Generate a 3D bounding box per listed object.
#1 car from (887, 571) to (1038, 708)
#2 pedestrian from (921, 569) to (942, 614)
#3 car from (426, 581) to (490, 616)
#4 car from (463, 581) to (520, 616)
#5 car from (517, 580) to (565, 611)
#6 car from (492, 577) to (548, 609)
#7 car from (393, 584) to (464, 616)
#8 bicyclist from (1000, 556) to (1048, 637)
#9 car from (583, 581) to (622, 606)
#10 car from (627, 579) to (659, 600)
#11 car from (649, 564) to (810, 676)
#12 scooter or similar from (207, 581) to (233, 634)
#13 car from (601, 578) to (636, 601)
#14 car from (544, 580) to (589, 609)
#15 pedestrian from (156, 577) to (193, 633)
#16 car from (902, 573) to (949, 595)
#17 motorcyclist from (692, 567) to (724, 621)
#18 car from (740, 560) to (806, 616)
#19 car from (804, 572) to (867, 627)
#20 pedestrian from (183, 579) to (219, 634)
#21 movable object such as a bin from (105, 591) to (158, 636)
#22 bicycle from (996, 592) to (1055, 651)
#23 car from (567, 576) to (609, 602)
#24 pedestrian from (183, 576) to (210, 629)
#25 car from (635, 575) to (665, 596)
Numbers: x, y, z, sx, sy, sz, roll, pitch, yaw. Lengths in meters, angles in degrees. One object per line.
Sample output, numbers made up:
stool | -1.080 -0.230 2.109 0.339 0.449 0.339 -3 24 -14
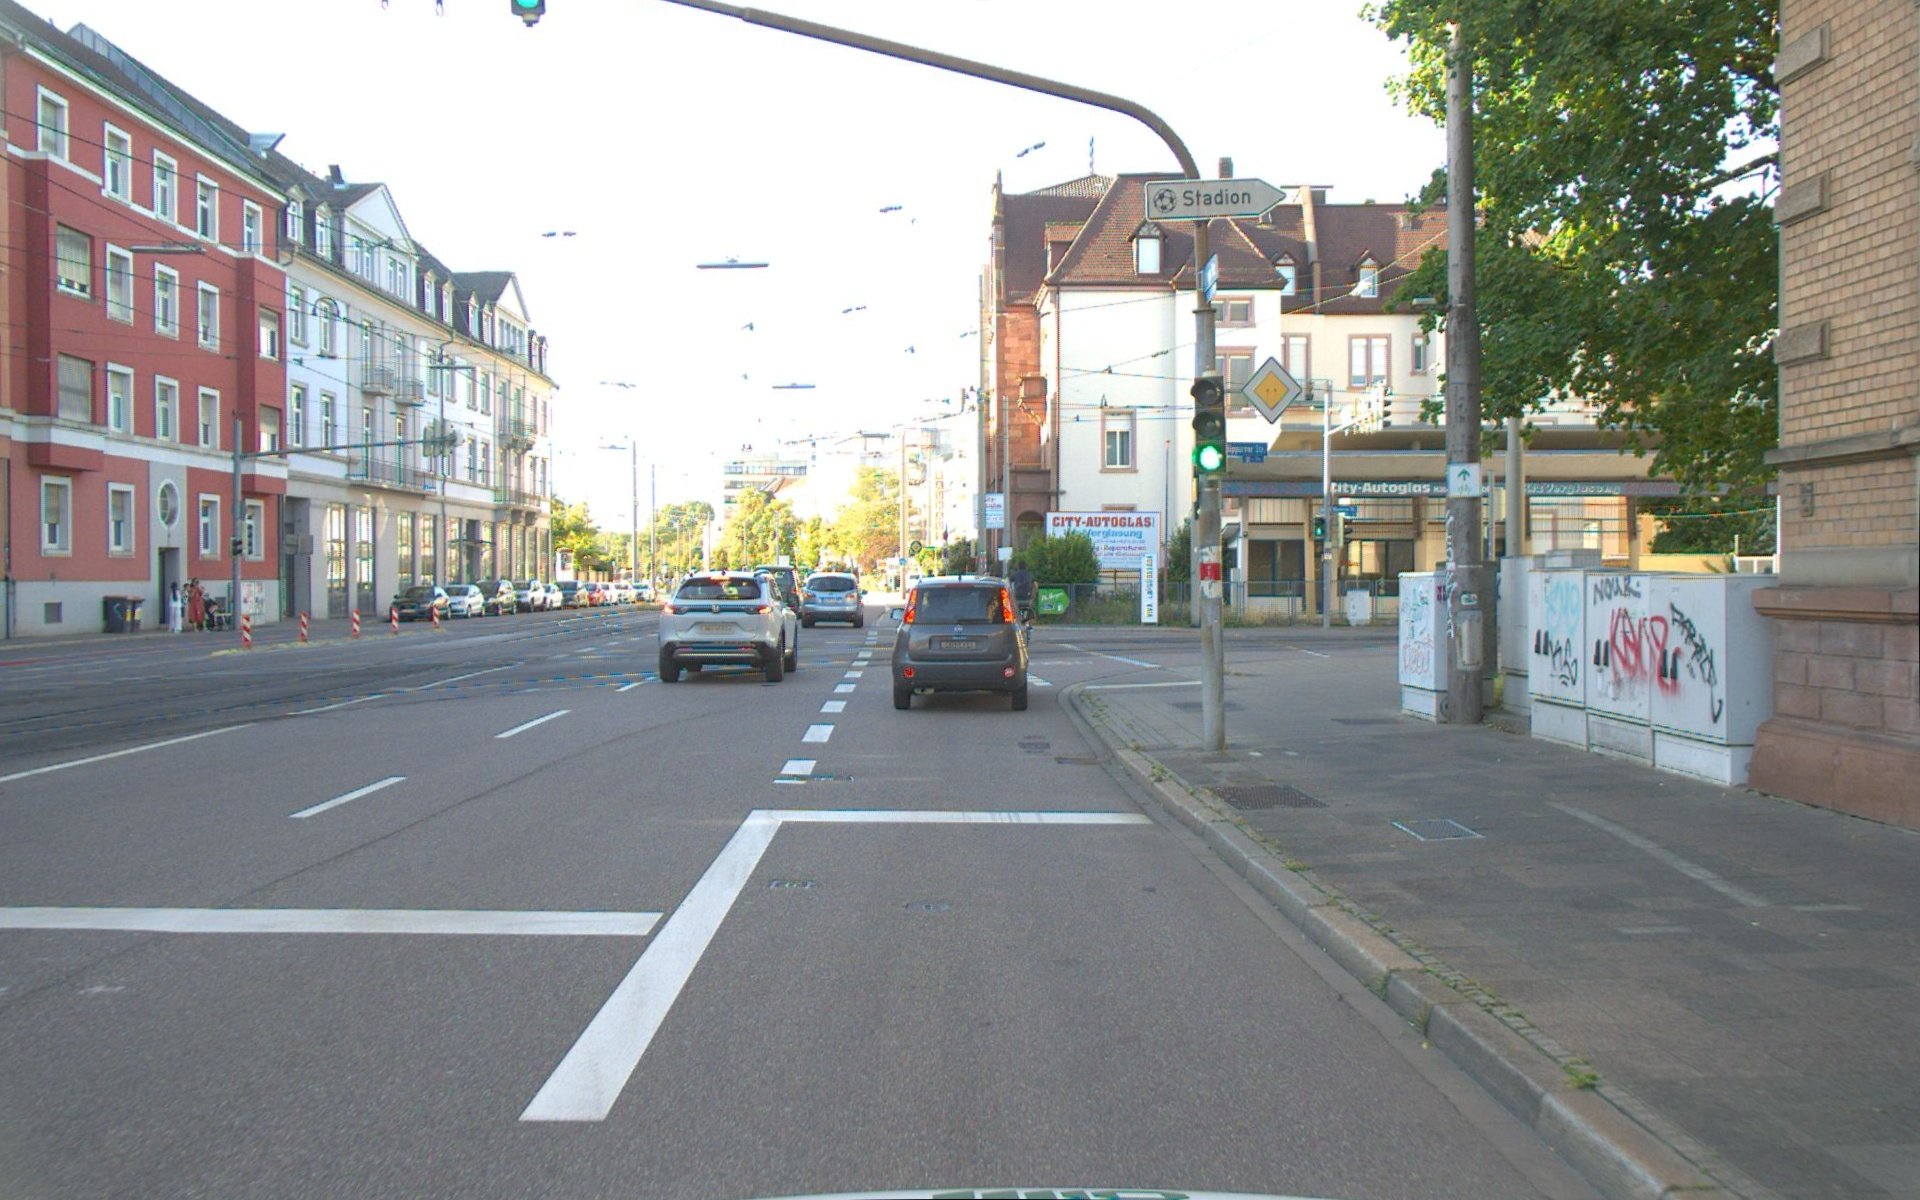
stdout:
car | 0.087 0.412 20.586 1.695 1.526 4.001 0 1 2
pedestrian | -1.185 -0.371 68.682 0.857 1.856 1.184 0 0 -1
car | -22.127 -0.093 73.023 1.684 1.477 3.999 -1 1 -2
car | -22.065 -0.073 77.979 1.684 1.579 3.855 -1 1 -2
car | -22.729 -0.268 89.872 1.684 1.579 3.999 -1 1 -2
car | -22.517 -0.380 84.737 1.798 1.579 4.273 -1 1 -2
car | -21.616 -0.019 67.454 1.684 1.254 3.999 -1 1 -2
bicyclist | 1.254 -0.073 32.584 0.818 1.551 0.992 0 0 -7
car | -22.825 -0.443 105.652 1.684 1.579 3.999 -1 1 -2
car | -23.894 -0.791 124.746 1.684 1.579 3.999 -1 1 -2
car | -3.382 0.242 25.012 1.908 1.555 4.089 0 1 -1
scooter or similar | -23.280 0.227 52.030 0.647 1.661 0.786 0 1 -34
car | -23.479 -0.727 113.897 1.684 1.579 3.999 0 1 -1
car | -22.570 -0.330 94.954 1.684 1.579 3.999 -1 1 -2
pedestrian | -23.805 0.141 50.113 0.776 1.661 0.655 0 0 17
car | -3.205 -1.472 154.068 4.182 2.049 1.995 0 0 -11
motorcyclist | -6.777 -0.171 44.581 0.762 1.448 0.891 0 1 -3
car | -7.118 -0.474 63.384 2.128 2.044 4.806 0 1 -2
car | -3.795 -0.034 50.871 1.778 1.609 3.998 0 1 -2
pedestrian | -23.349 0.198 50.888 0.823 1.661 0.784 0 1 -40
movable object such as a bin | -23.917 0.394 47.773 0.852 1.271 1.234 0 0 5
bicycle | 1.266 0.397 32.473 0.757 1.105 1.866 0 1 -11
car | -22.674 -0.683 100.909 1.684 1.579 3.999 -1 1 -2
pedestrian | -23.835 0.068 51.629 0.647 1.661 0.786 0 1 -34
car | -24.459 -1.149 130.739 1.684 1.579 3.999 -1 1 -2
